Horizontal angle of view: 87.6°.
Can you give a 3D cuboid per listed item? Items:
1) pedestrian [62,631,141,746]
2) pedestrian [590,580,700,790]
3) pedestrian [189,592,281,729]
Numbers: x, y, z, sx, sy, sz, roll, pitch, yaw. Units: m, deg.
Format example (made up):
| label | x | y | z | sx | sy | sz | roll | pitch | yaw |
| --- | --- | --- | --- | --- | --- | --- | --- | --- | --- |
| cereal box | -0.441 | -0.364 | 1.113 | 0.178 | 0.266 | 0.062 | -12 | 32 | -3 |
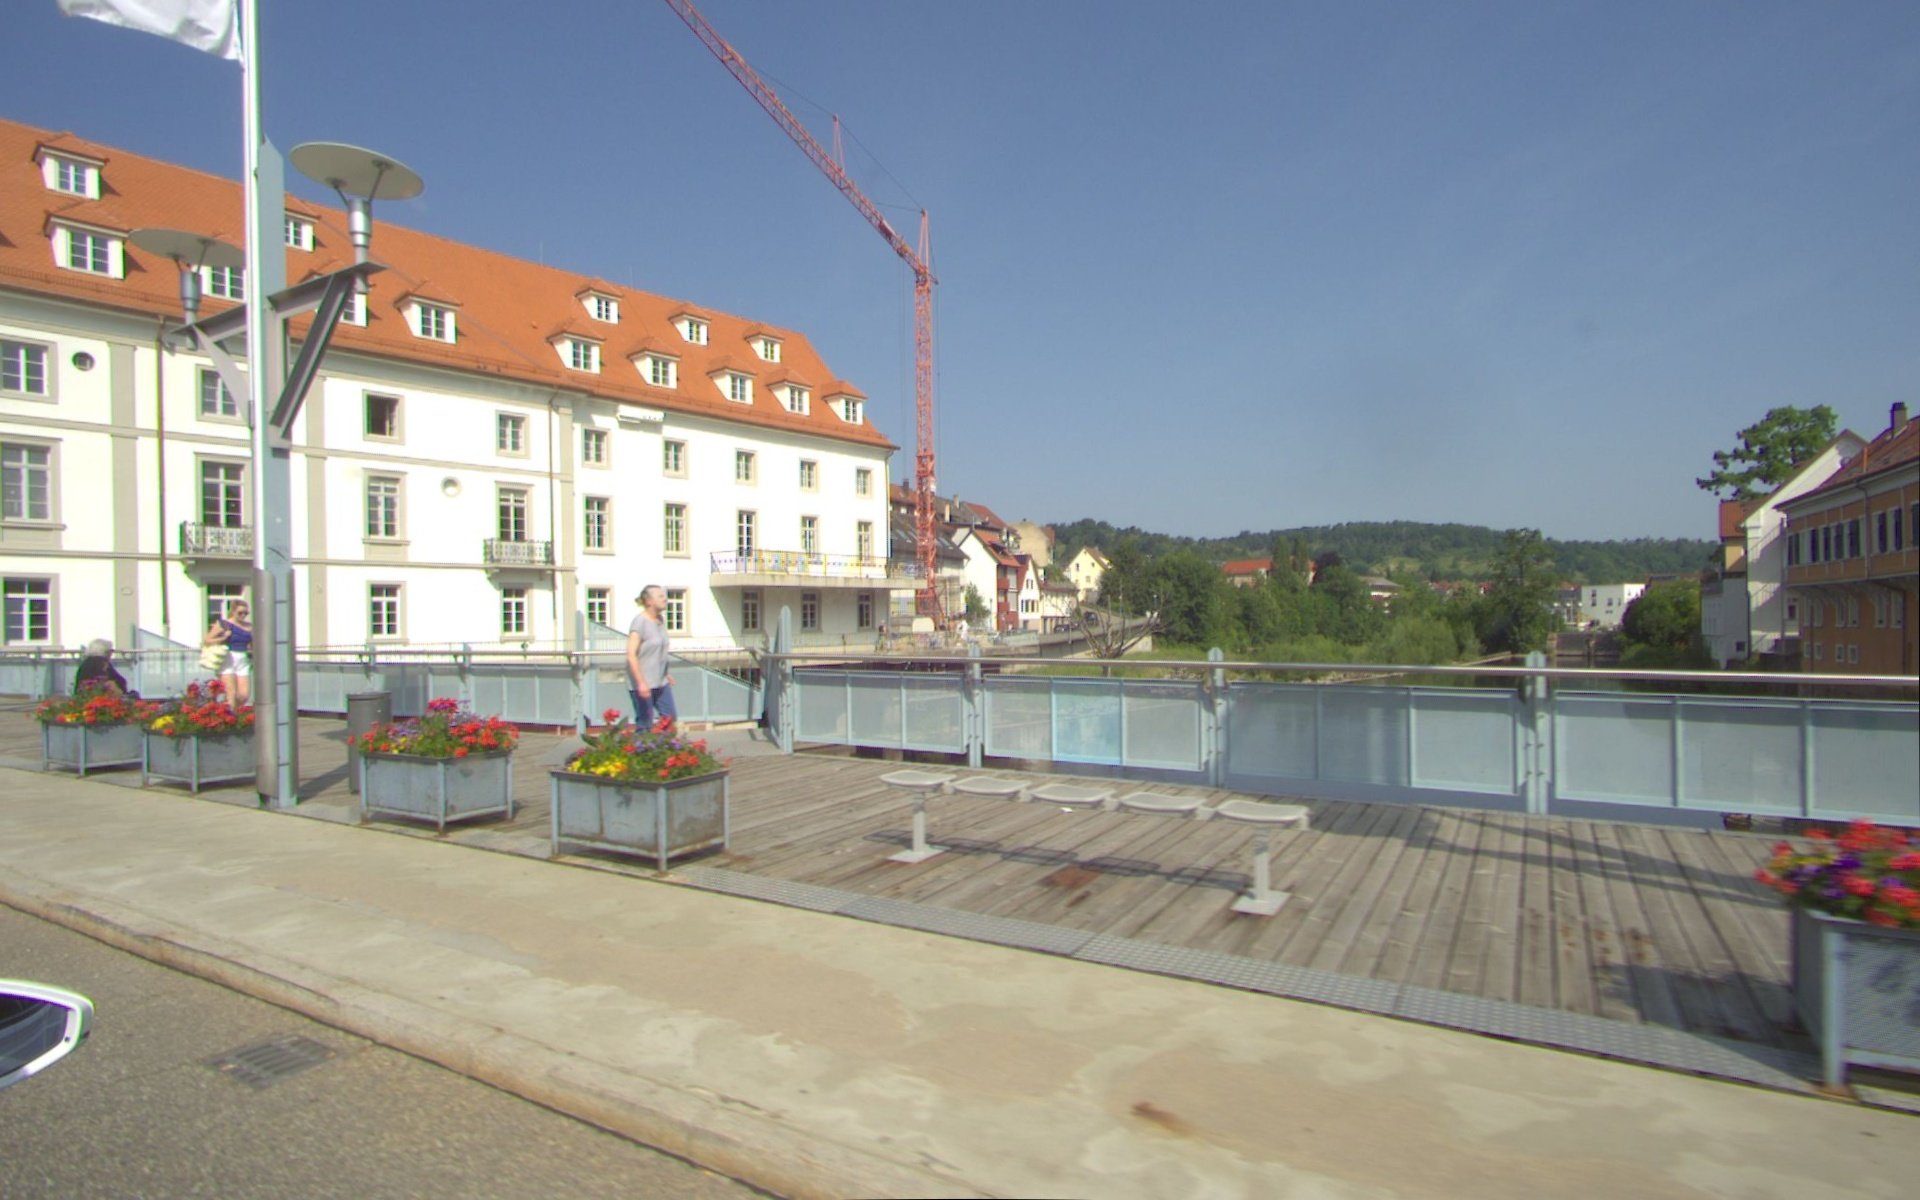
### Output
| label | x | y | z | sx | sy | sz | roll | pitch | yaw |
| --- | --- | --- | --- | --- | --- | --- | --- | --- | --- |
| pedestrian | -9.735 | 0.985 | 11.358 | 0.616 | 1.260 | 0.451 | -1 | 0 | 26 |
| pedestrian | -2.592 | 0.675 | 8.270 | 0.555 | 1.639 | 0.665 | 0 | 0 | 30 |
| pedestrian | -9.544 | 0.778 | 13.187 | 0.736 | 1.745 | 0.725 | 0 | 0 | 28 |
